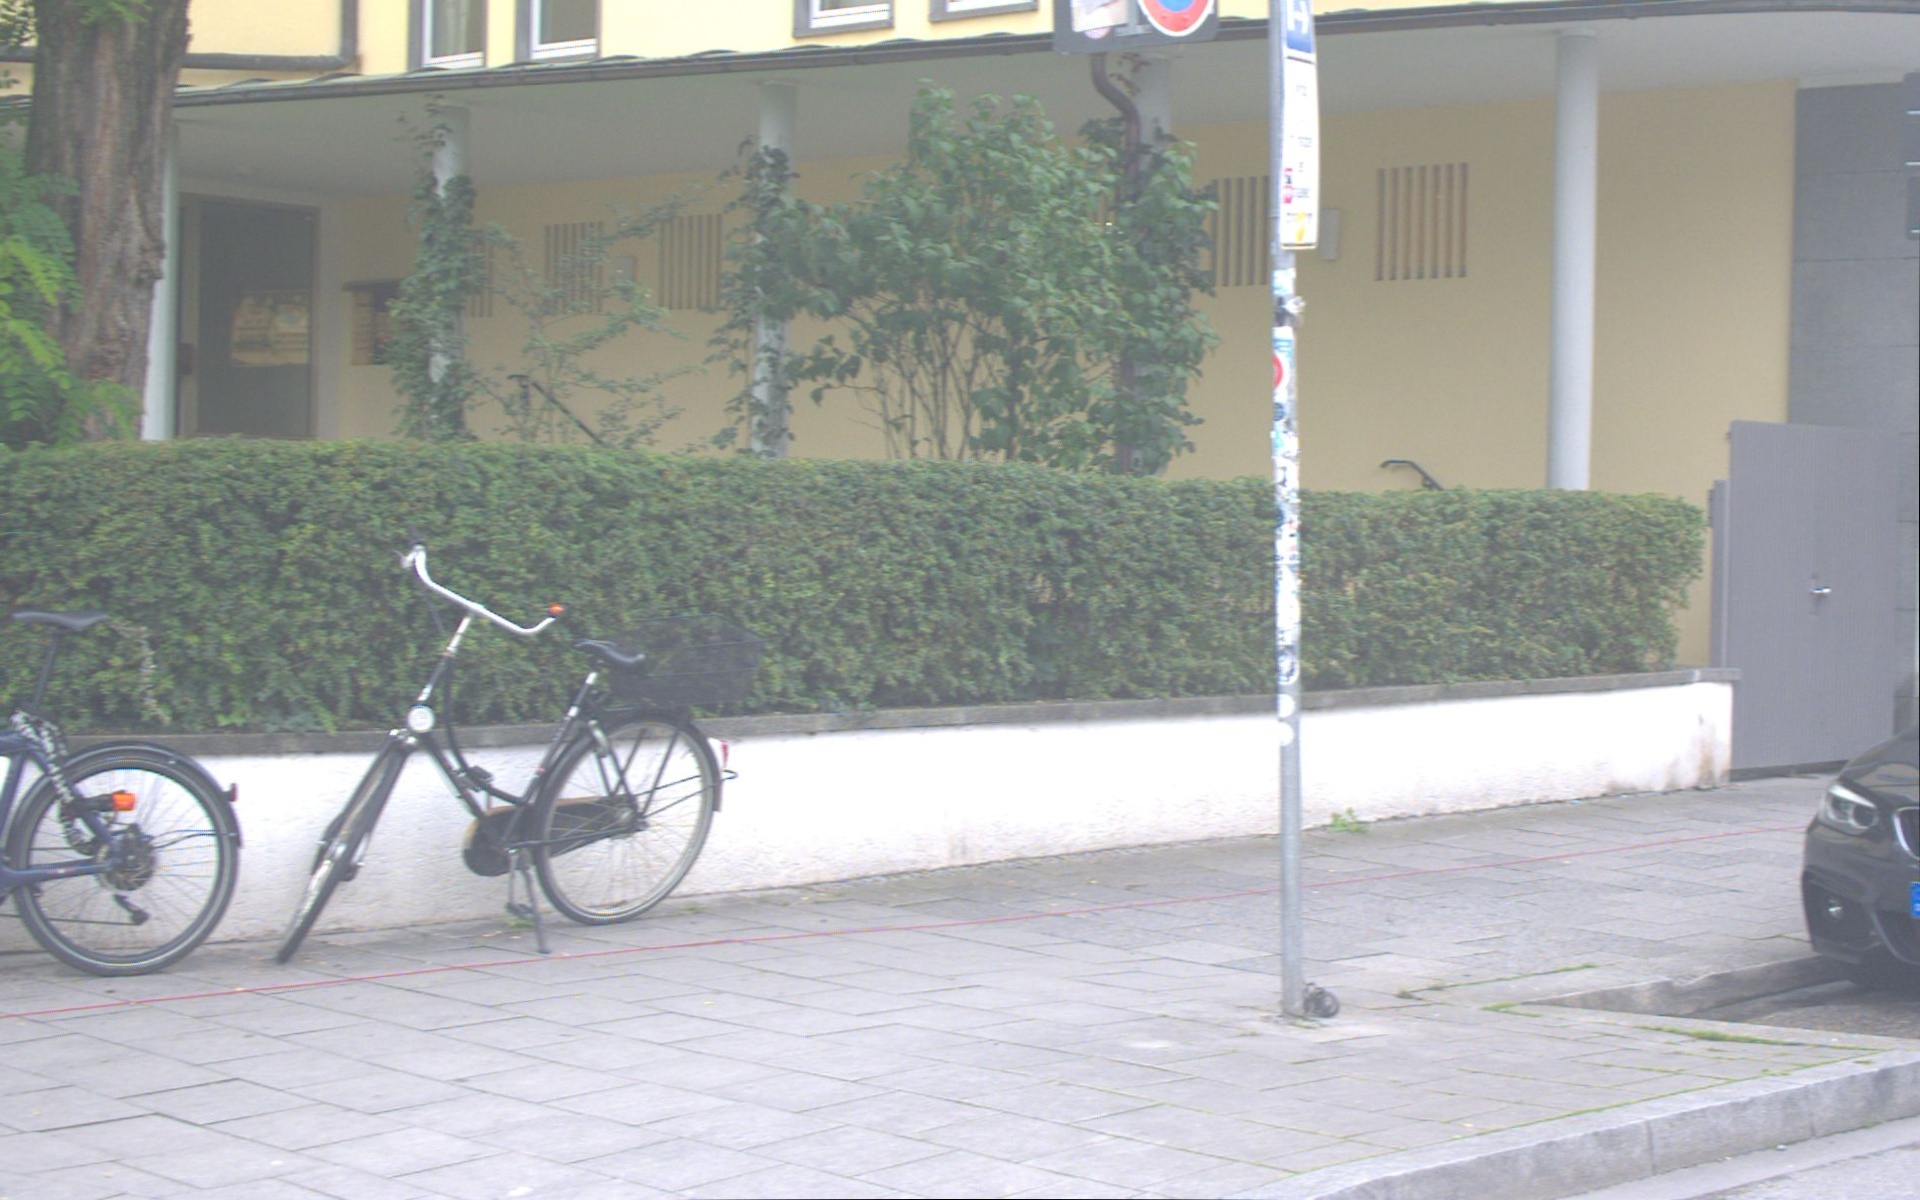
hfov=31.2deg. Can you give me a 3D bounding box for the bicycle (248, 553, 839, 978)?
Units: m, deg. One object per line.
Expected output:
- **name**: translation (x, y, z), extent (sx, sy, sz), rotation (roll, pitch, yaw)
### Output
- **bicycle**: translation (-1.266, 0.468, 10.758), extent (1.849, 1.206, 0.563), rotation (-1, 3, -44)

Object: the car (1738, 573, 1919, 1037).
- **car**: translation (4.525, 0.595, 11.885), extent (1.750, 1.406, 4.088), rotation (0, 2, 43)

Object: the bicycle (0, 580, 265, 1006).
- **bicycle**: translation (-3.107, 0.517, 9.370), extent (2.289, 1.122, 0.583), rotation (0, 3, -23)
